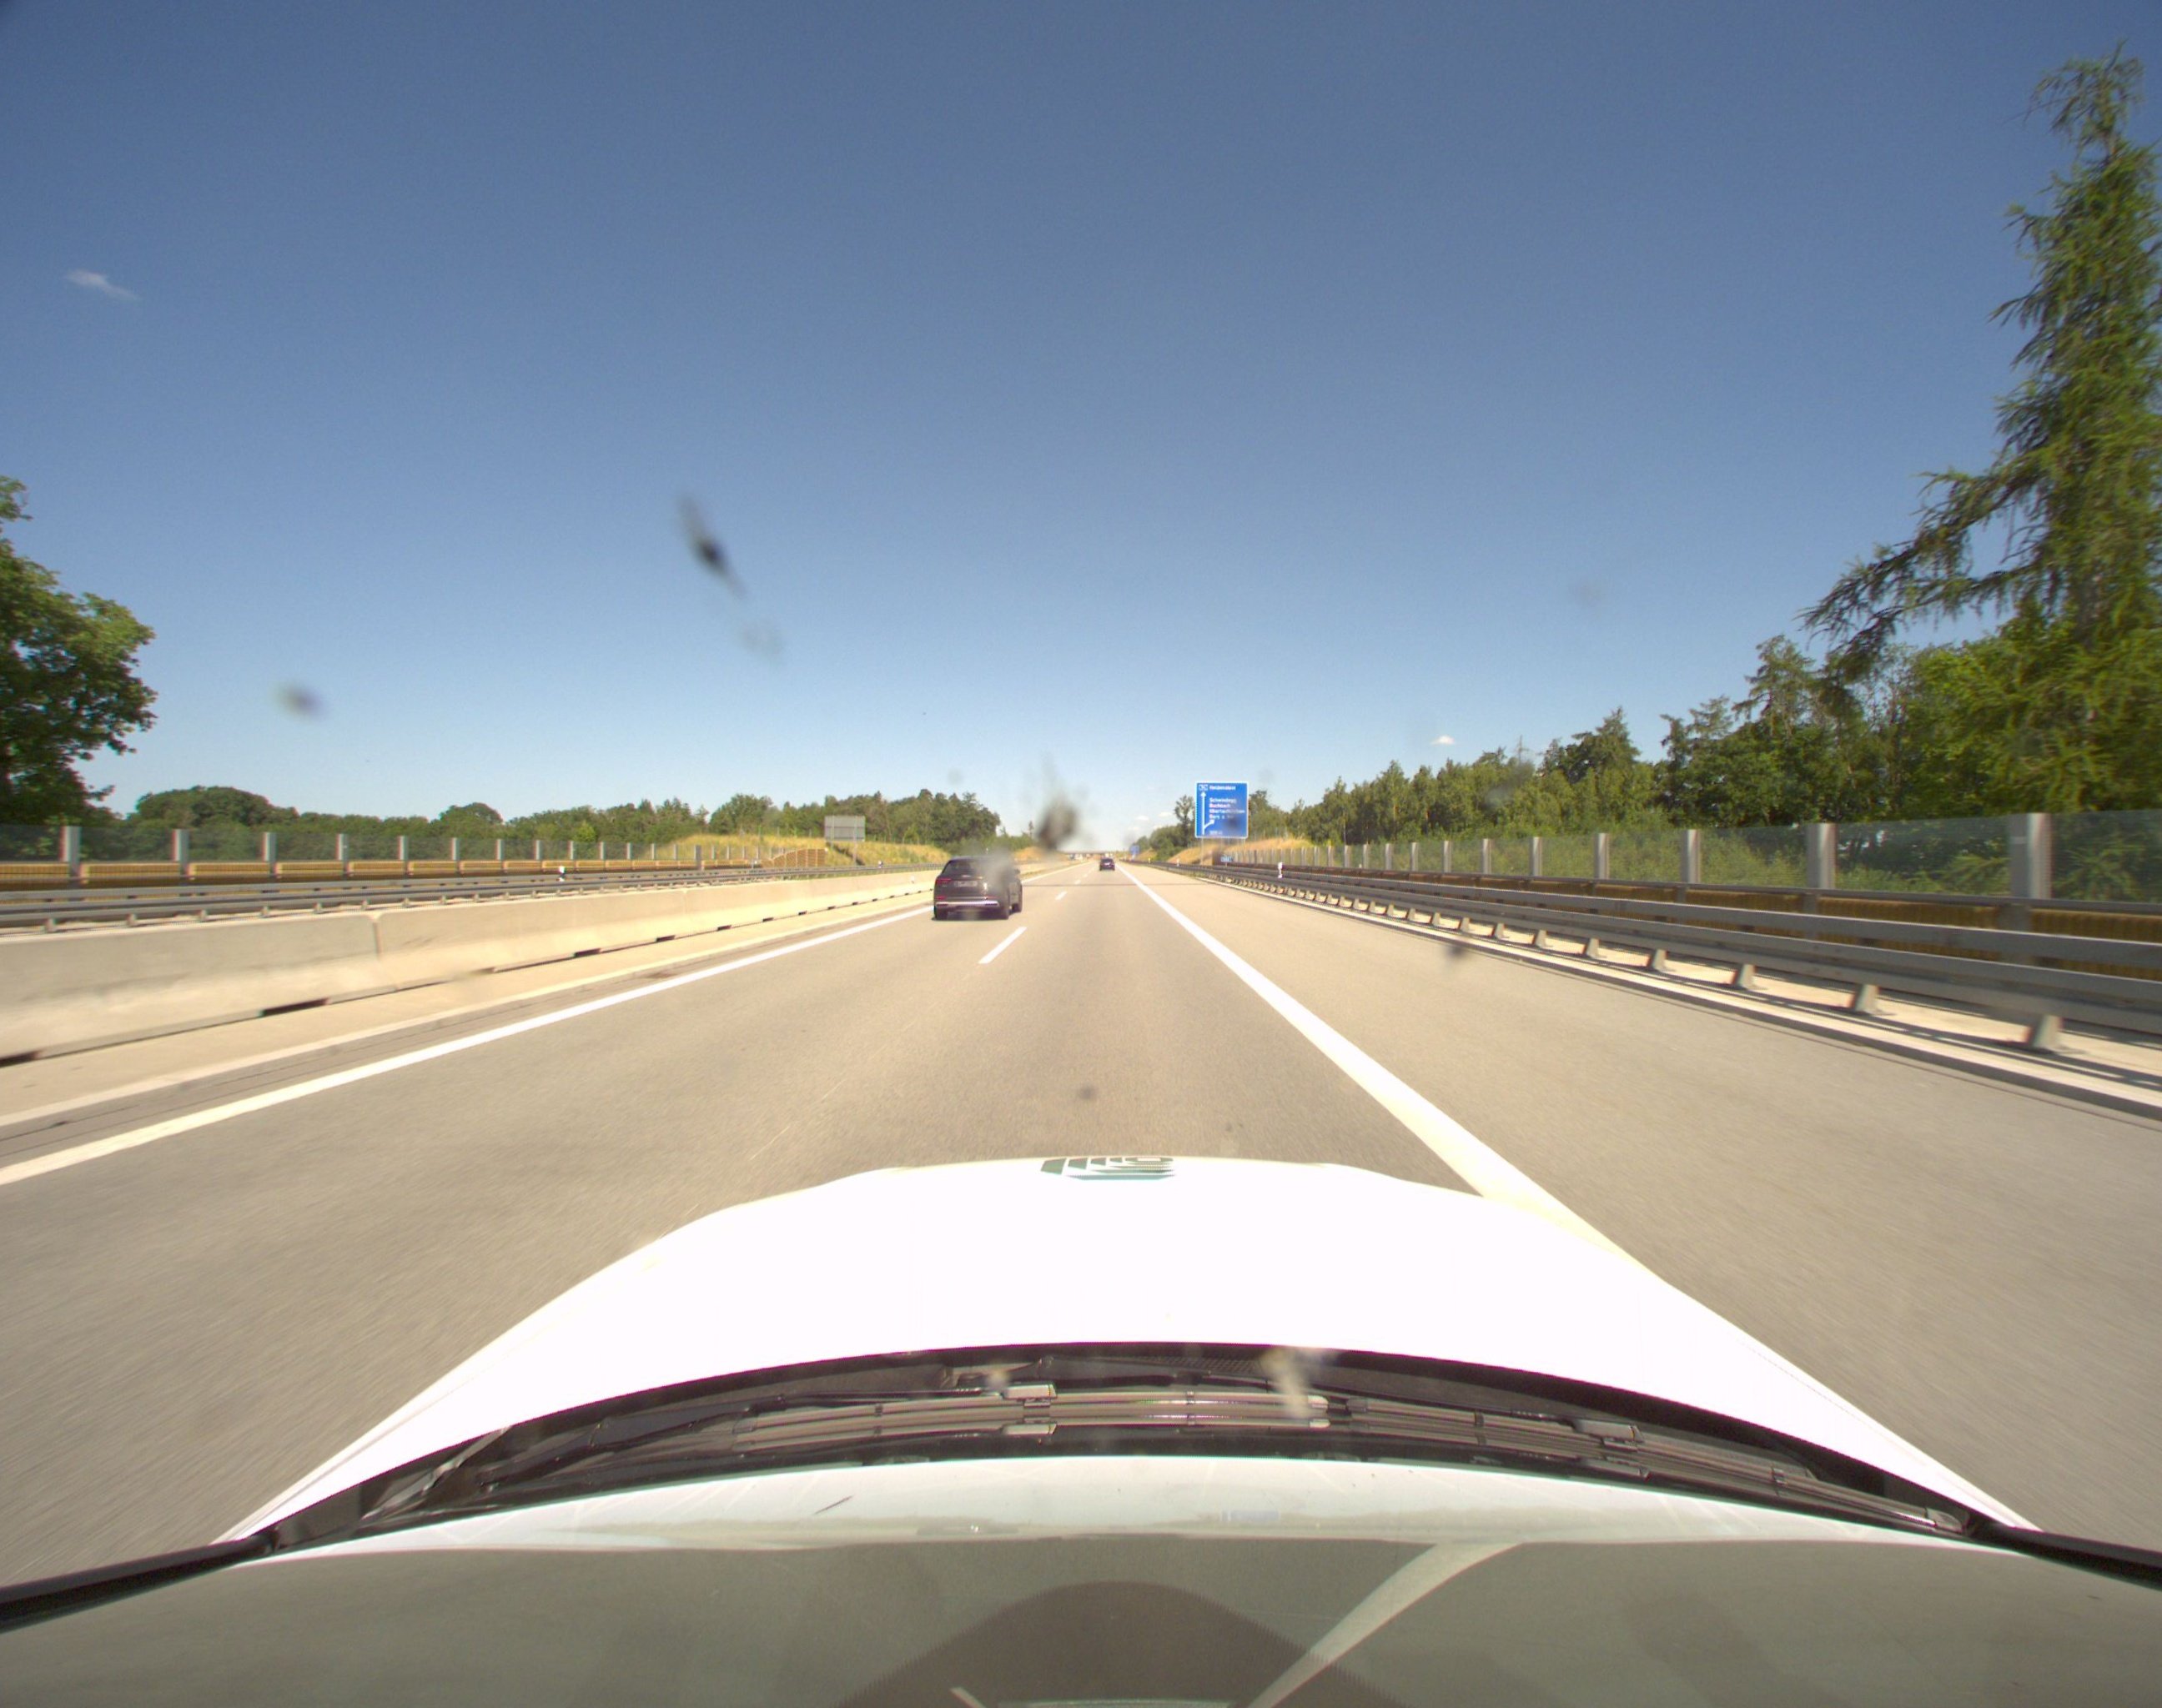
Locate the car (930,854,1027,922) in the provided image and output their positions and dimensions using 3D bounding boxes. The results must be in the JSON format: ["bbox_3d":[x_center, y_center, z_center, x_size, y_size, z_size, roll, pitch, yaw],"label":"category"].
[{"bbox_3d":[-2.588,0.800,21.739,1.715,1.587,5.225,0,0,2],"label":"car"}]

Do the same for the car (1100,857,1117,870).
[{"bbox_3d":[3.145,1.061,92.696,1.783,1.374,3.919,0,0,2],"label":"car"}]
